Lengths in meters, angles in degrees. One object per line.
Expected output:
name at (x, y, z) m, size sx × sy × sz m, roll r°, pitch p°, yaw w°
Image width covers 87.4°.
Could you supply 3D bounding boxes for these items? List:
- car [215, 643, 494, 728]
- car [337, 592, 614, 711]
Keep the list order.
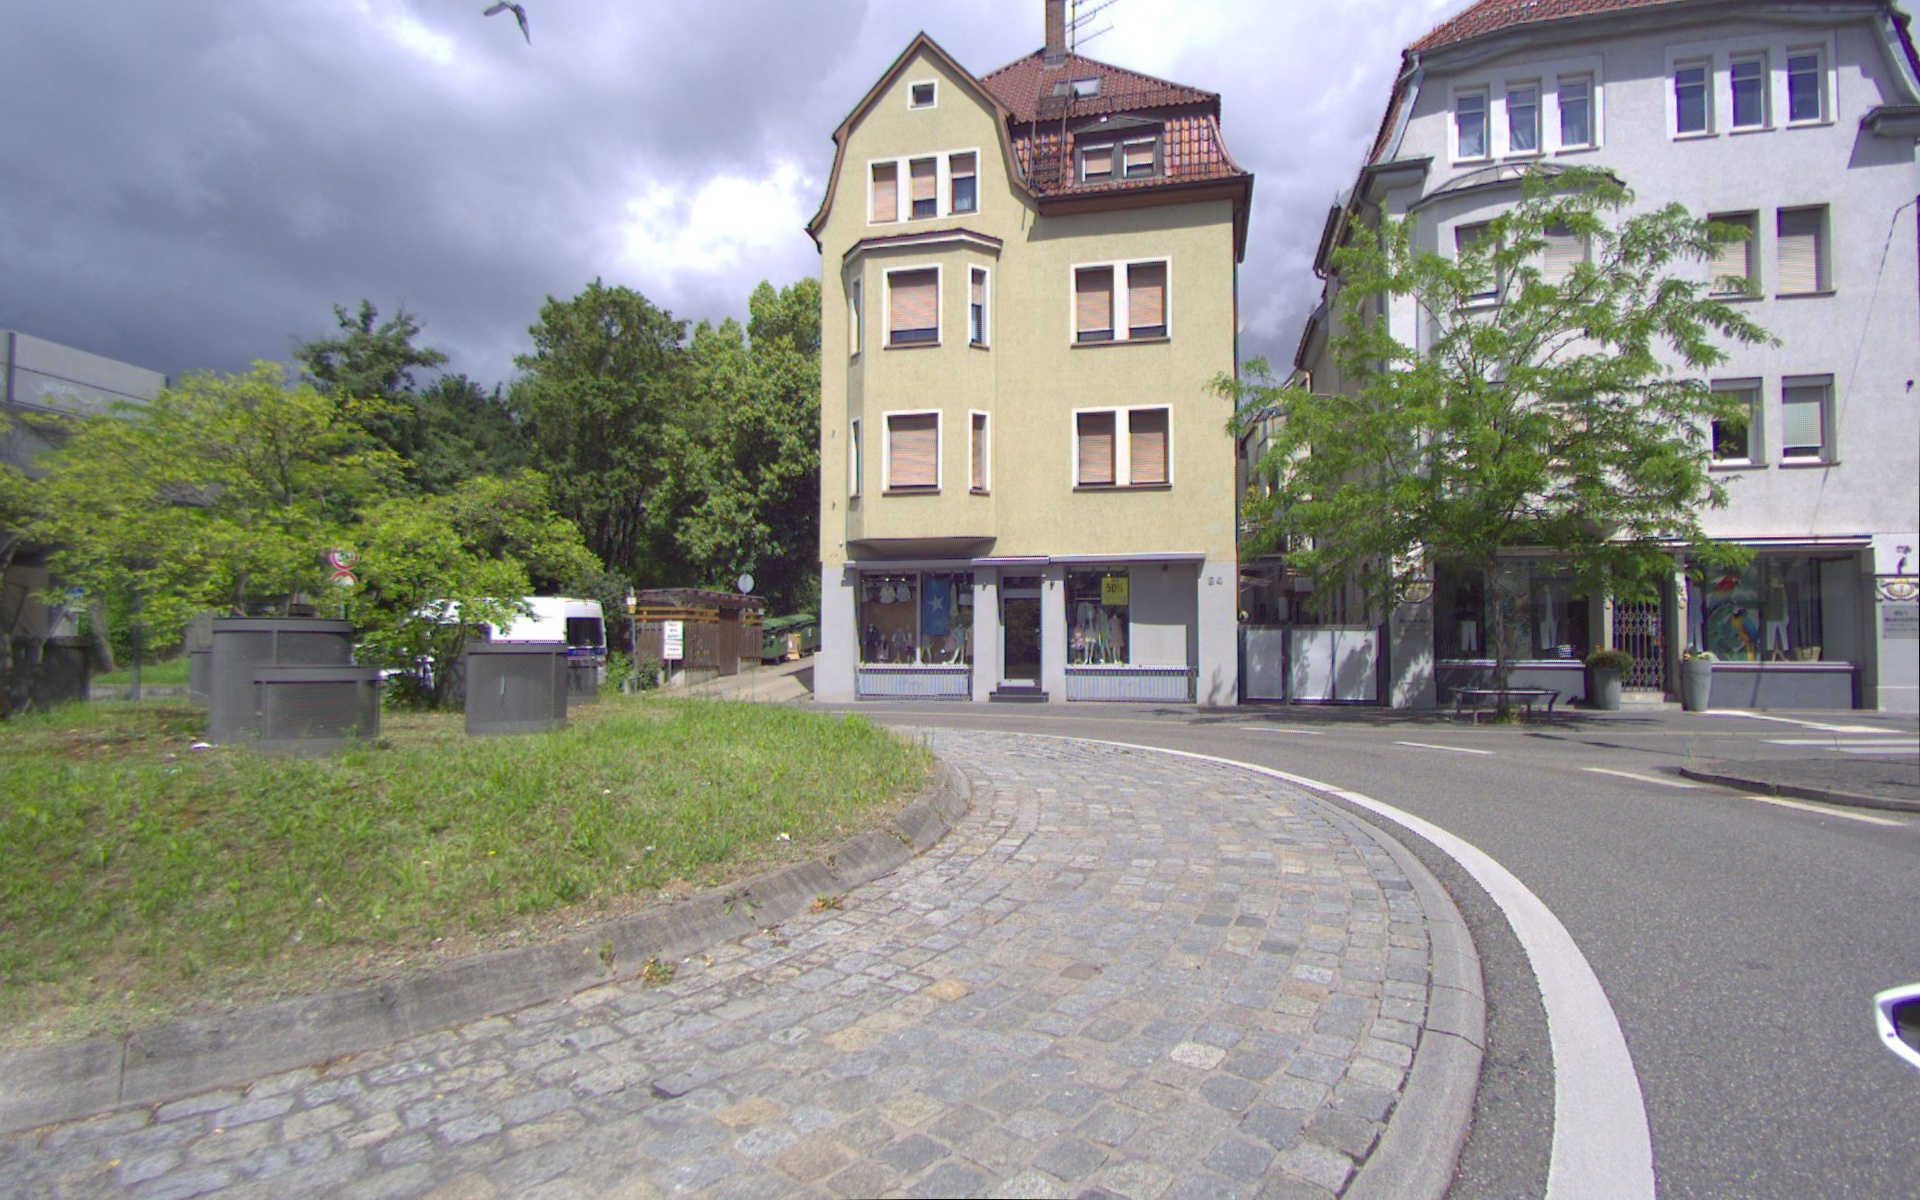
car at (-10.679, 1.476, 18.033) m, size 3.932 × 1.372 × 1.711 m, roll 0°, pitch -2°, yaw -15°
car at (-11.404, 1.222, 23.766) m, size 5.810 × 2.641 × 1.975 m, roll -1°, pitch -1°, yaw 10°
